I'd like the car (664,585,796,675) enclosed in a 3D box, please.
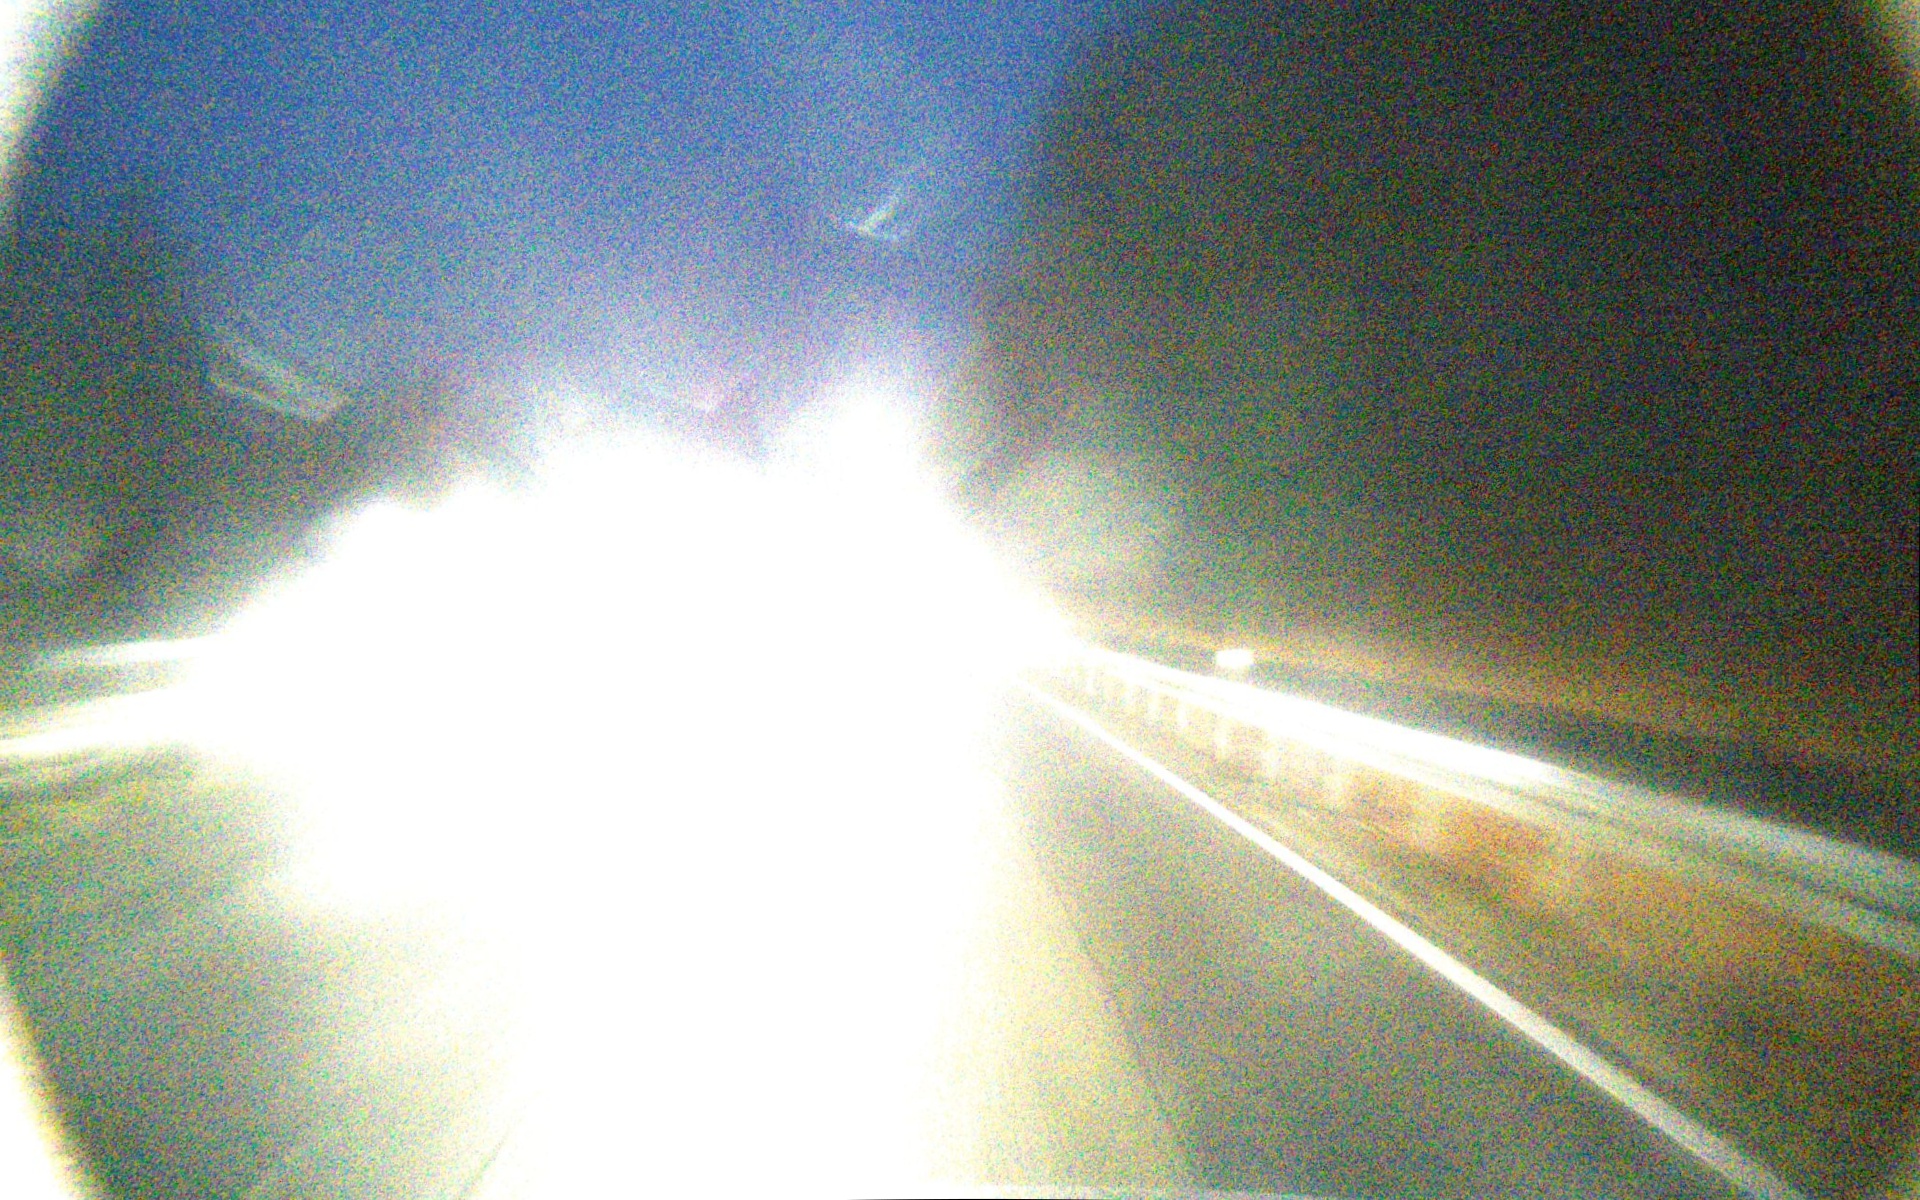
[{"bbox_3d":[-4.103,0.500,30.045,1.953,1.498,3.835,1,0,-2],"label":"car"}]

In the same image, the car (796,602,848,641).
[{"bbox_3d":[-5.178,0.805,62.476,1.769,1.362,4.186,1,-1,-3],"label":"car"}]
